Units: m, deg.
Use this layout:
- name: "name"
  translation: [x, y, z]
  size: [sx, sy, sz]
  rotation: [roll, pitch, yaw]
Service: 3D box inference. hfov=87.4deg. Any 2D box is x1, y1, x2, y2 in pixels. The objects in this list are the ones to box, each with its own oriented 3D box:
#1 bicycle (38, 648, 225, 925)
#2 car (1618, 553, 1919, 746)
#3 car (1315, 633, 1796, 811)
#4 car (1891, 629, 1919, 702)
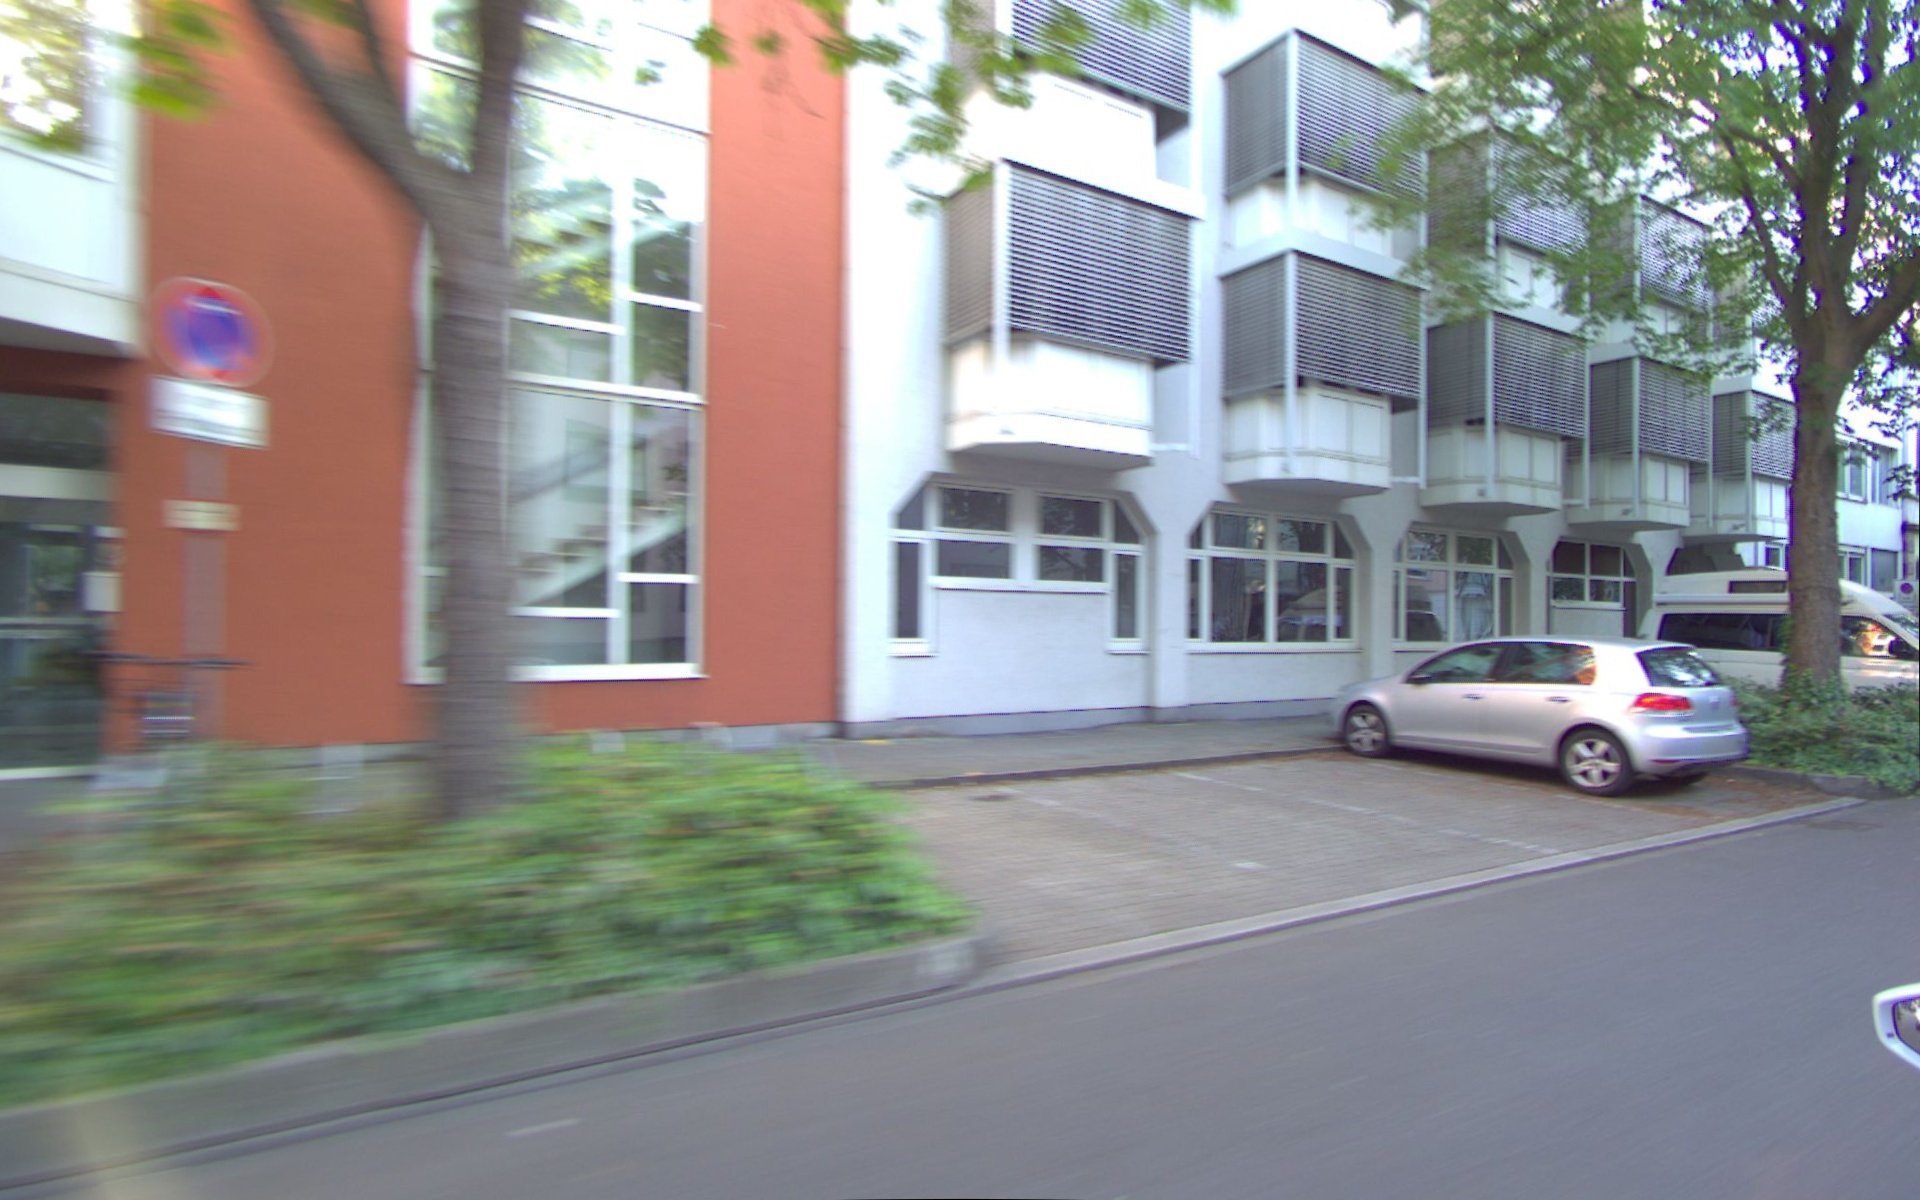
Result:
- name: "bicycle"
  translation: [-4.432, 0.879, 5.468]
  size: [0.650, 1.192, 1.944]
  rotation: [2, -2, -37]
- name: "car"
  translation: [13.180, 0.703, 15.230]
  size: [2.096, 2.607, 4.978]
  rotation: [1, -1, -31]
- name: "car"
  translation: [6.213, 1.136, 11.000]
  size: [1.930, 1.488, 4.148]
  rotation: [1, -1, -30]
- name: "car"
  translation: [23.624, 1.501, 21.656]
  size: [2.135, 1.643, 4.830]
  rotation: [2, -1, -30]
